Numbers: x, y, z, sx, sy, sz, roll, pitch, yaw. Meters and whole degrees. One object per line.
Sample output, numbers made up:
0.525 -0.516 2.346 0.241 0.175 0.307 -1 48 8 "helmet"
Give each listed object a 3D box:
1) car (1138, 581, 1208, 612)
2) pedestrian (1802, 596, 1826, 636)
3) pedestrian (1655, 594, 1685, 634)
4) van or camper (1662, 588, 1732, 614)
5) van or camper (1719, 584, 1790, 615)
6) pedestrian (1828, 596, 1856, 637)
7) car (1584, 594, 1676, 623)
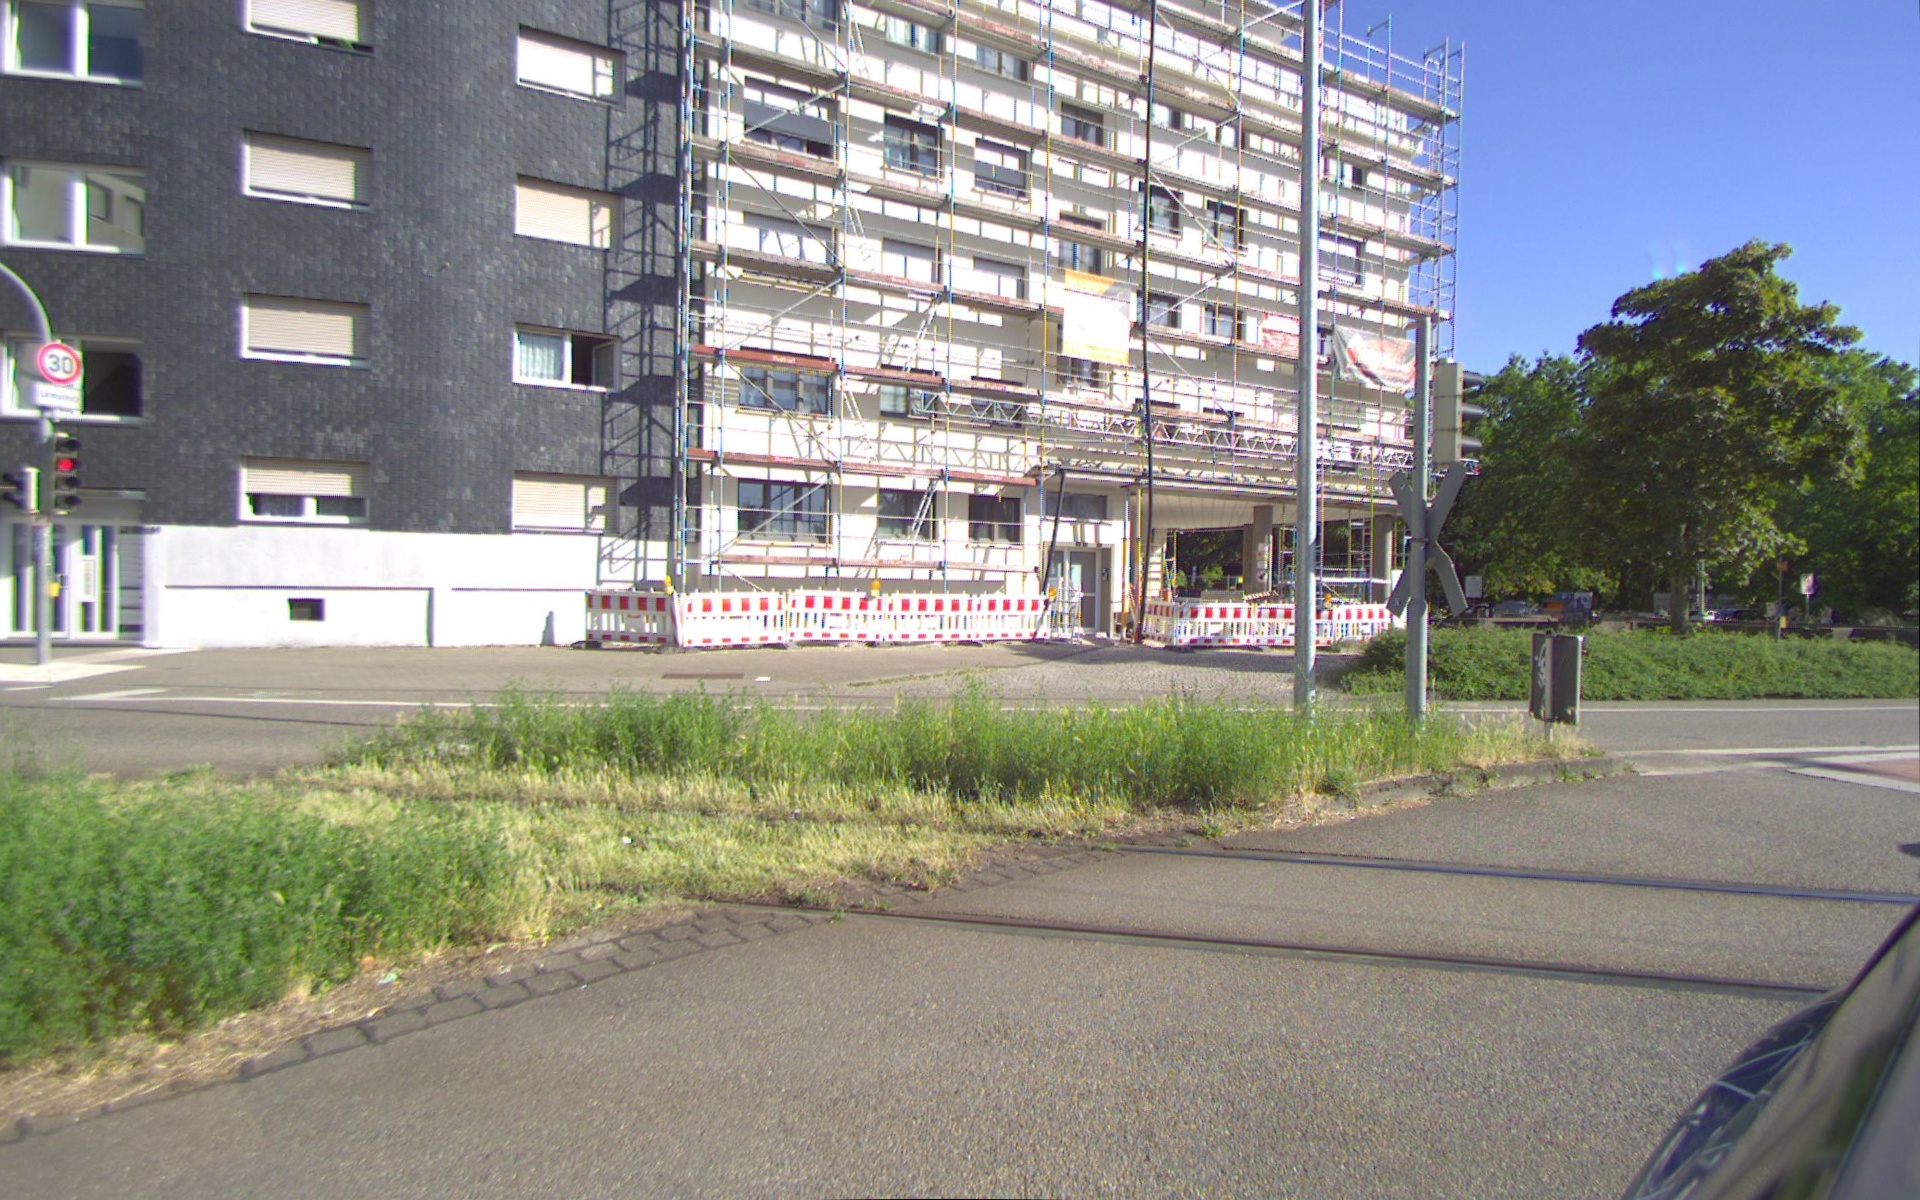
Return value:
14.584 -0.245 69.269 4.261 2.099 2.004 0 1 -23 "car"
35.237 0.661 41.737 0.556 1.640 0.599 0 0 -31 "pedestrian"
27.302 0.519 38.917 0.891 1.516 0.652 1 0 -34 "pedestrian"
57.395 0.086 78.808 5.220 1.937 2.461 1 1 -30 "van or camper"
59.322 -0.036 75.565 5.222 2.185 2.461 1 1 -32 "van or camper"
35.695 0.658 40.964 0.556 1.640 0.706 0 0 -31 "pedestrian"
33.904 0.405 51.287 1.592 1.331 3.591 -2 2 -31 "car"
